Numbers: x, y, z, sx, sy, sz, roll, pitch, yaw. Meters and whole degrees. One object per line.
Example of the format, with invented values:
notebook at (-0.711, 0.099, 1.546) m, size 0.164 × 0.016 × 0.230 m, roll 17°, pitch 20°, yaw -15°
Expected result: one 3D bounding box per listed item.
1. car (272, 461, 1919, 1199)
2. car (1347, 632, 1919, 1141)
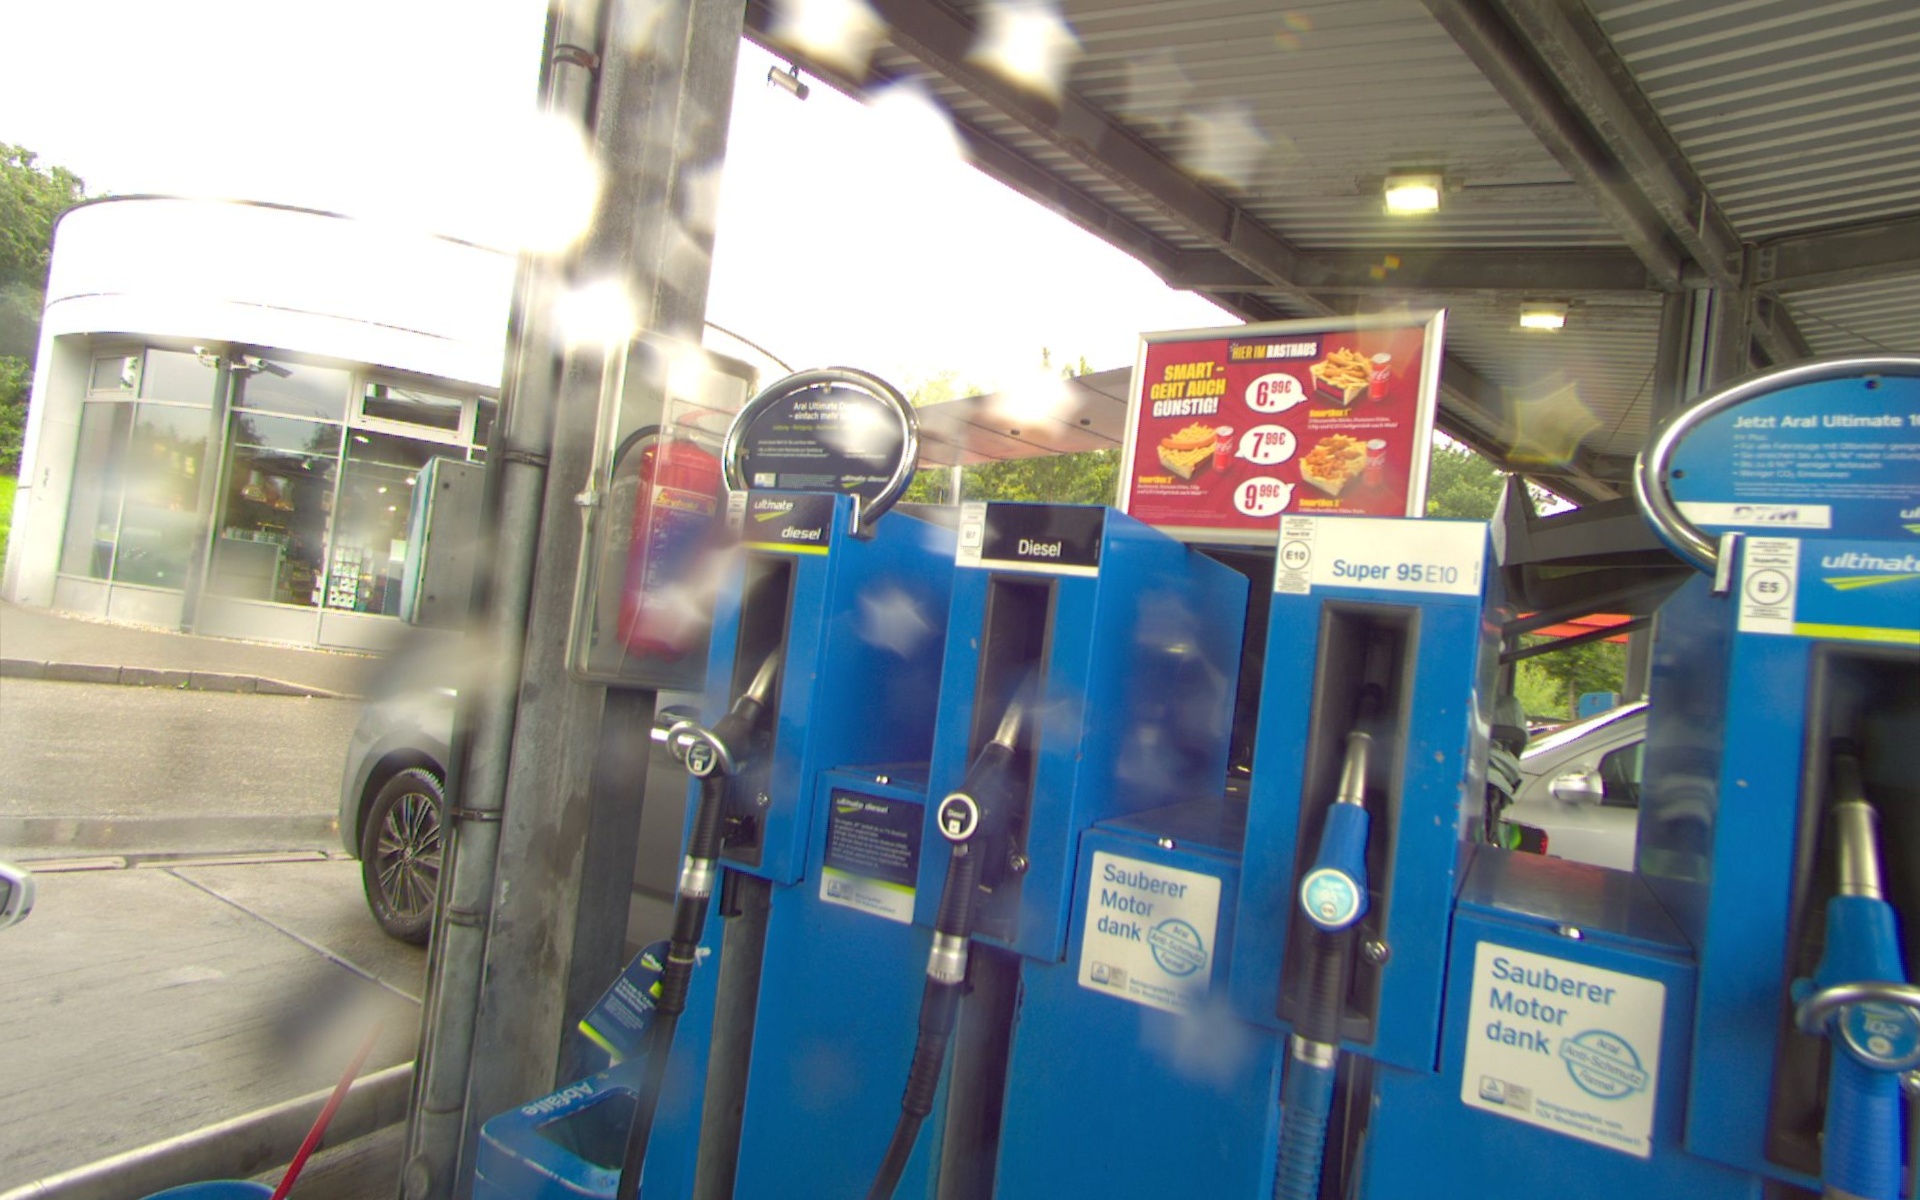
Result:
car at (-0.164, 0.644, 3.692) m, size 5.055 × 1.819 × 1.865 m, roll 6°, pitch -2°, yaw 32°
car at (4.473, 1.369, 4.834) m, size 4.464 × 1.819 × 1.865 m, roll 6°, pitch -2°, yaw 32°
